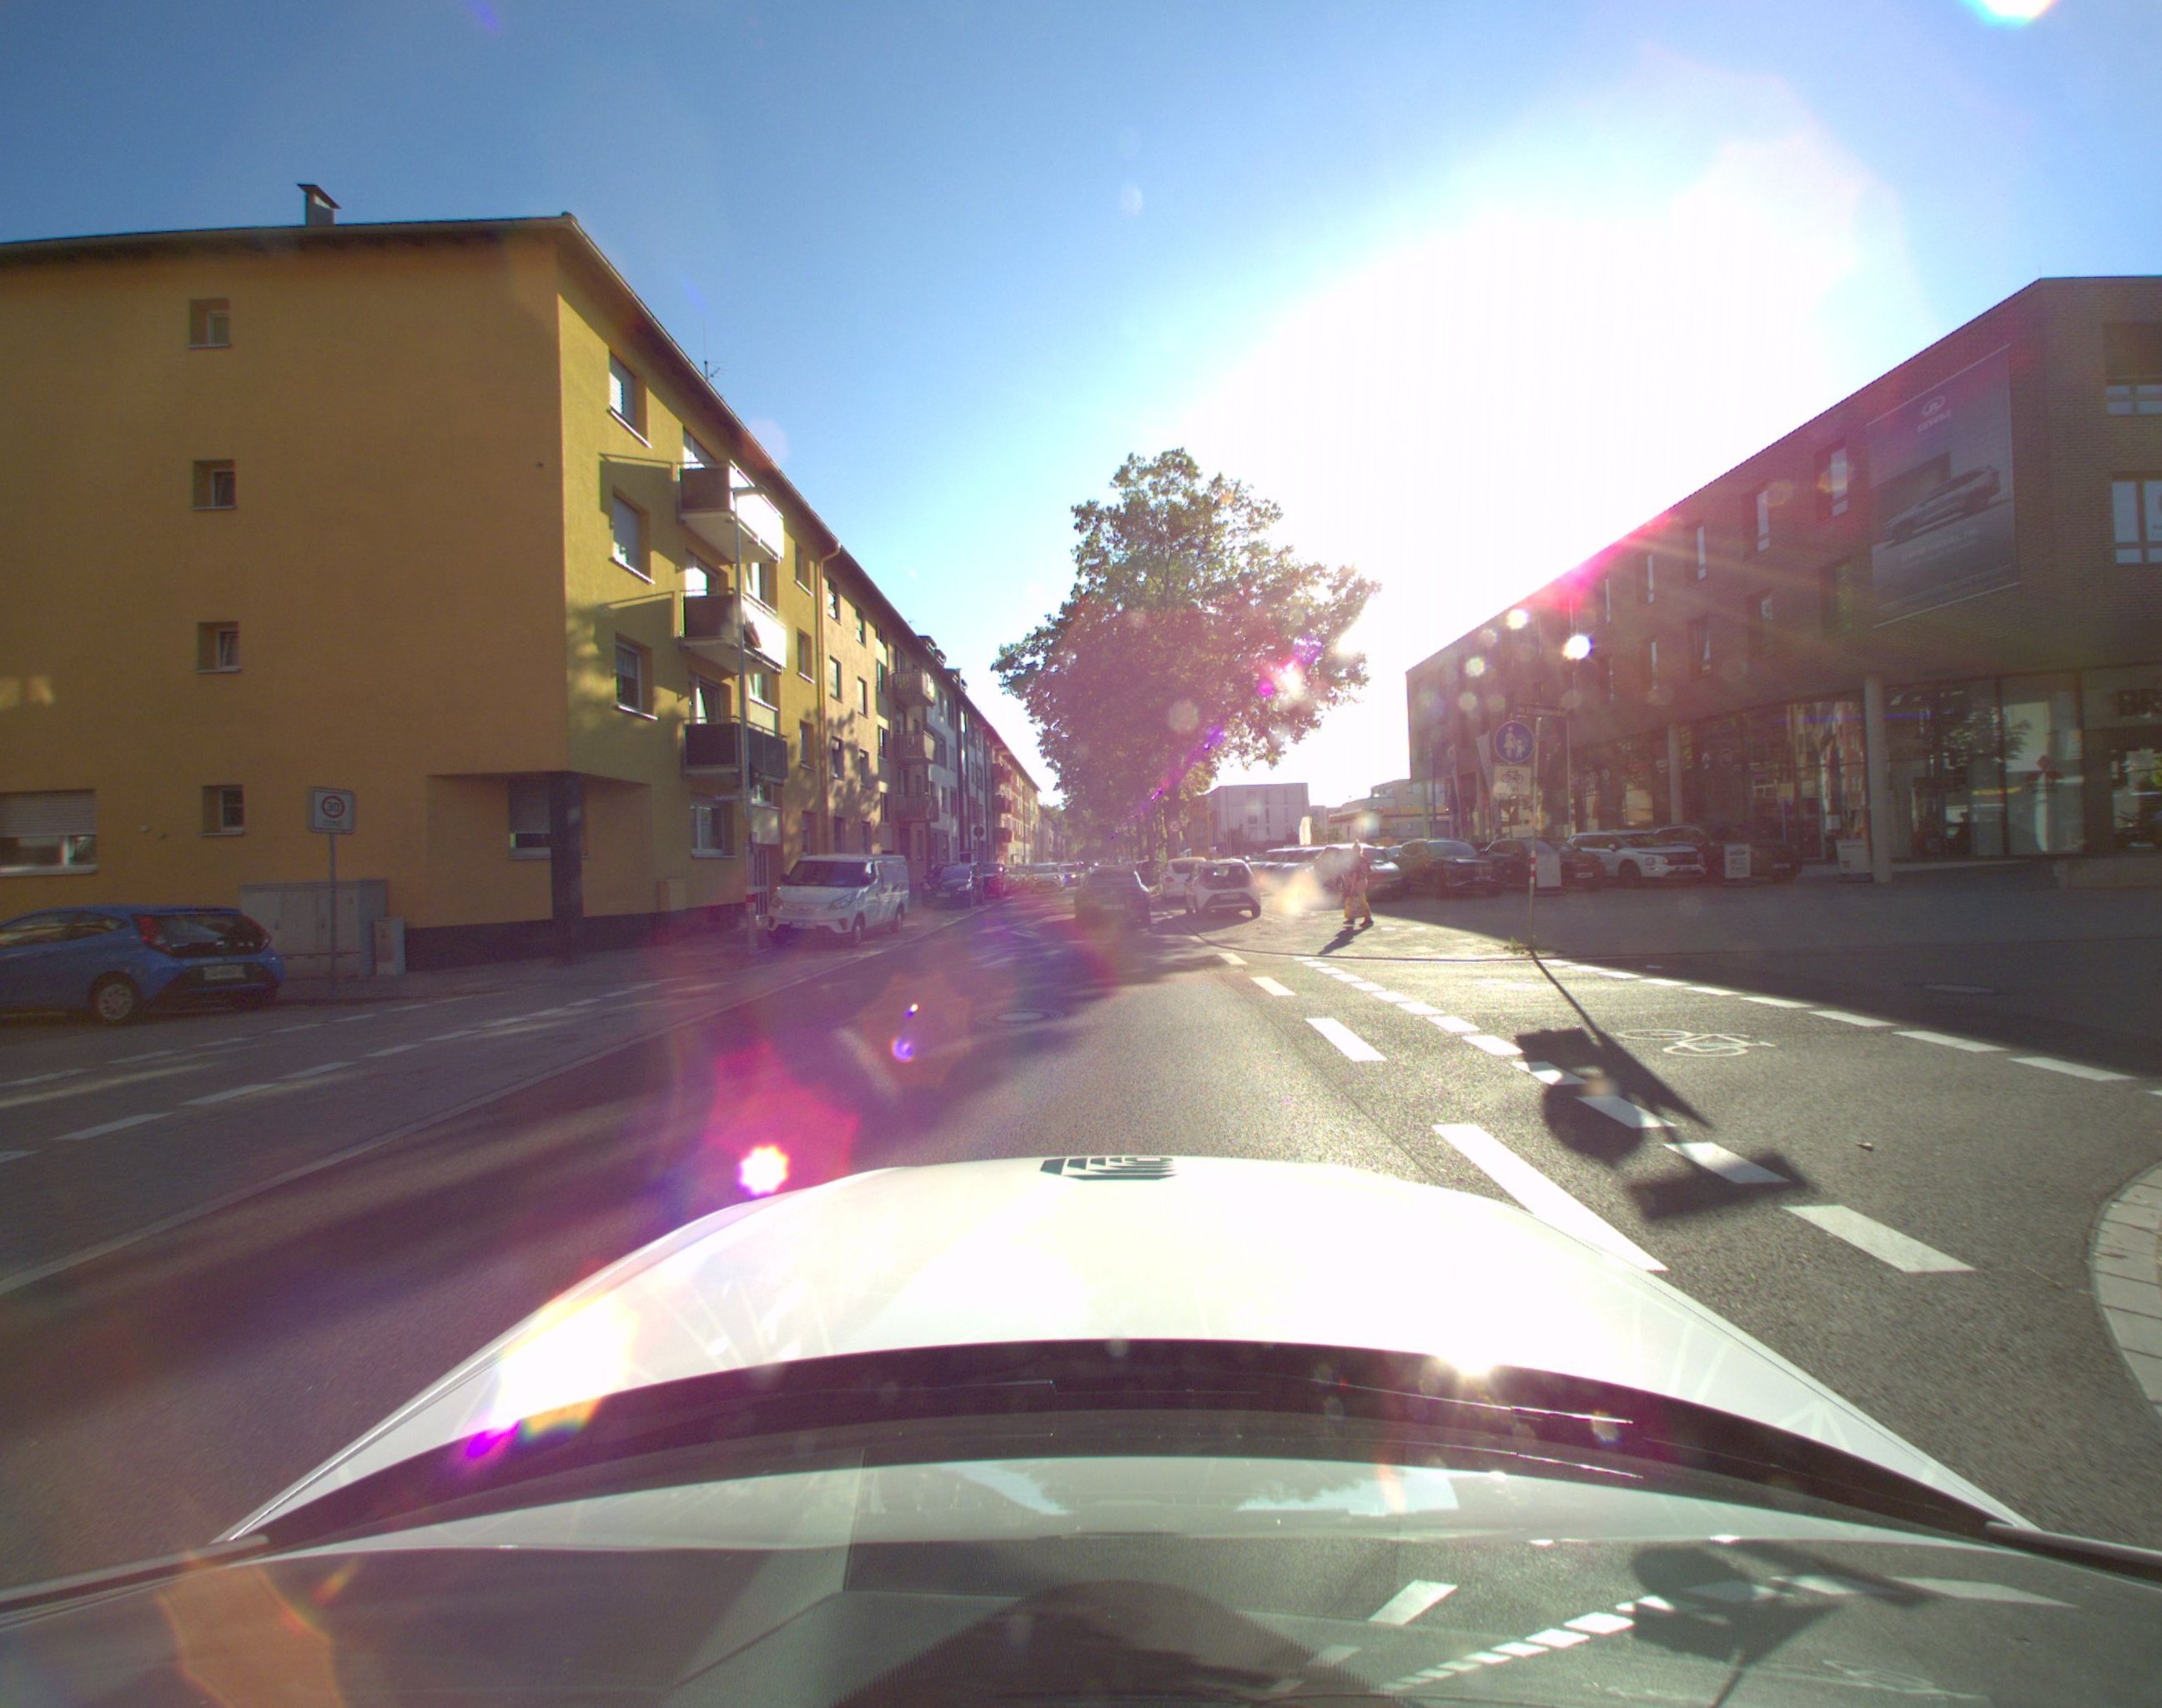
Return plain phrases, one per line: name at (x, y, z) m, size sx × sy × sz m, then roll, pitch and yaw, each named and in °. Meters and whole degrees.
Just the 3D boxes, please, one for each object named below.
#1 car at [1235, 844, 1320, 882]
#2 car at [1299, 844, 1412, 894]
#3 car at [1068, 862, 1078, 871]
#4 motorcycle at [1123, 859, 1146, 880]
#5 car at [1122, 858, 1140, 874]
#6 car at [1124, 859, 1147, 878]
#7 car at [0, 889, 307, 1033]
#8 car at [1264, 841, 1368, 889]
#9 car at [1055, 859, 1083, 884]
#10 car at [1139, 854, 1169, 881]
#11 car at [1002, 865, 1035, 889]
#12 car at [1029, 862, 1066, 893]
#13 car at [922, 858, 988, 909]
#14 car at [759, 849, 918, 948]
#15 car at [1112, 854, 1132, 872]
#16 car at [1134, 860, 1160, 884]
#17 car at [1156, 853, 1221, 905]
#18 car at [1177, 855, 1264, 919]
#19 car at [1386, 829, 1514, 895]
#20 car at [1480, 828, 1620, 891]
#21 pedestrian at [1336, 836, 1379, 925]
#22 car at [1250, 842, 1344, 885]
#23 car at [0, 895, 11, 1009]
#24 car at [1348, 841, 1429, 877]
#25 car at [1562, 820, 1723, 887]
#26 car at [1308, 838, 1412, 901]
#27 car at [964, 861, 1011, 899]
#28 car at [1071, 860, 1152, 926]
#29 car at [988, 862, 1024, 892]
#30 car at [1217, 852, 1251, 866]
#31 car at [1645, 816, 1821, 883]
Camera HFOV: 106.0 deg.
car at (9.236, 0.410, 38.096) m, size 3.836 × 1.578 × 1.727 m, roll -3°, pitch 0°, yaw -36°
car at (9.636, 0.508, 28.545) m, size 3.833 × 1.545 × 1.646 m, roll -2°, pitch 0°, yaw -32°
car at (-1.774, 2.733, 178.680) m, size 1.900 × 1.948 × 4.000 m, roll -1°, pitch -2°, yaw 1°
motorcycle at (4.081, 1.159, 62.300) m, size 1.647 × 1.557 × 0.607 m, roll 0°, pitch -1°, yaw -20°
car at (5.007, 1.237, 81.581) m, size 1.627 × 1.557 × 3.601 m, roll 0°, pitch -1°, yaw 1°
car at (4.618, 1.270, 69.521) m, size 1.716 × 1.557 × 3.601 m, roll 0°, pitch -1°, yaw 1°
car at (-12.798, 1.353, 10.603) m, size 3.768 × 1.567 × 1.750 m, roll -2°, pitch -1°, yaw 2°
car at (9.069, 0.406, 31.300) m, size 3.835 × 1.609 × 1.723 m, roll -3°, pitch 0°, yaw -34°
car at (-0.785, 1.129, 55.365) m, size 1.657 × 1.523 × 4.413 m, roll -3°, pitch 0°, yaw 2°
car at (4.472, 0.824, 50.131) m, size 1.554 × 1.596 × 3.601 m, roll 0°, pitch -1°, yaw 1°
car at (-3.882, 1.422, 51.330) m, size 1.590 × 1.434 × 4.218 m, roll 0°, pitch 0°, yaw 2°
car at (-1.751, 1.195, 43.445) m, size 1.633 × 1.523 × 3.935 m, roll -2°, pitch 0°, yaw 2°
car at (-4.734, 1.056, 31.103) m, size 1.739 × 1.787 × 4.549 m, roll 0°, pitch 0°, yaw 1°
car at (-5.255, 0.883, 18.492) m, size 1.726 × 1.907 × 5.214 m, roll -1°, pitch 0°, yaw 4°
car at (4.803, 1.058, 94.832) m, size 1.988 × 2.014 × 3.997 m, roll -1°, pitch -2°, yaw -2°
car at (4.494, 1.223, 56.072) m, size 1.554 × 1.596 × 3.601 m, roll 0°, pitch -1°, yaw 1°
car at (3.713, 0.855, 28.819) m, size 1.803 × 1.539 × 4.586 m, roll -5°, pitch -1°, yaw 3°
car at (3.667, 0.835, 22.005) m, size 1.629 × 1.468 × 4.021 m, roll -4°, pitch -1°, yaw 1°
car at (10.960, 0.238, 24.548) m, size 1.820 × 1.732 × 4.367 m, roll -2°, pitch 0°, yaw 0°
car at (13.904, 0.160, 24.465) m, size 1.721 × 1.684 × 4.179 m, roll -2°, pitch 0°, yaw 0°
pedestrian at (5.541, 0.528, 16.358) m, size 0.686 × 1.723 × 0.724 m, roll -3°, pitch -1°, yaw 15°
car at (9.138, 0.370, 34.394) m, size 3.836 × 1.578 × 1.722 m, roll -3°, pitch 0°, yaw -36°
car at (-16.965, 1.438, 10.551) m, size 3.974 × 1.567 × 1.750 m, roll -2°, pitch -1°, yaw 2°
car at (14.561, 0.226, 38.556) m, size 3.835 × 1.511 × 1.626 m, roll -3°, pitch 0°, yaw -34°
car at (16.571, -0.003, 24.324) m, size 1.870 × 1.733 × 4.179 m, roll -2°, pitch 0°, yaw 0°
car at (8.273, 0.435, 24.535) m, size 1.745 × 1.670 × 4.159 m, roll -2°, pitch 0°, yaw 2°
car at (-4.327, 1.150, 38.173) m, size 1.591 × 1.641 × 4.412 m, roll 0°, pitch 0°, yaw 1°
car at (0.848, 0.894, 20.311) m, size 1.735 × 1.443 × 3.975 m, roll 0°, pitch 0°, yaw 6°
car at (-4.125, 1.230, 45.218) m, size 1.542 × 1.524 × 4.005 m, roll 0°, pitch 0°, yaw 1°
car at (19.204, 0.640, 102.182) m, size 3.974 × 1.529 × 1.806 m, roll -1°, pitch -2°, yaw -1°
car at (19.214, -0.109, 24.294) m, size 1.978 × 1.733 × 4.183 m, roll -2°, pitch 0°, yaw 3°
